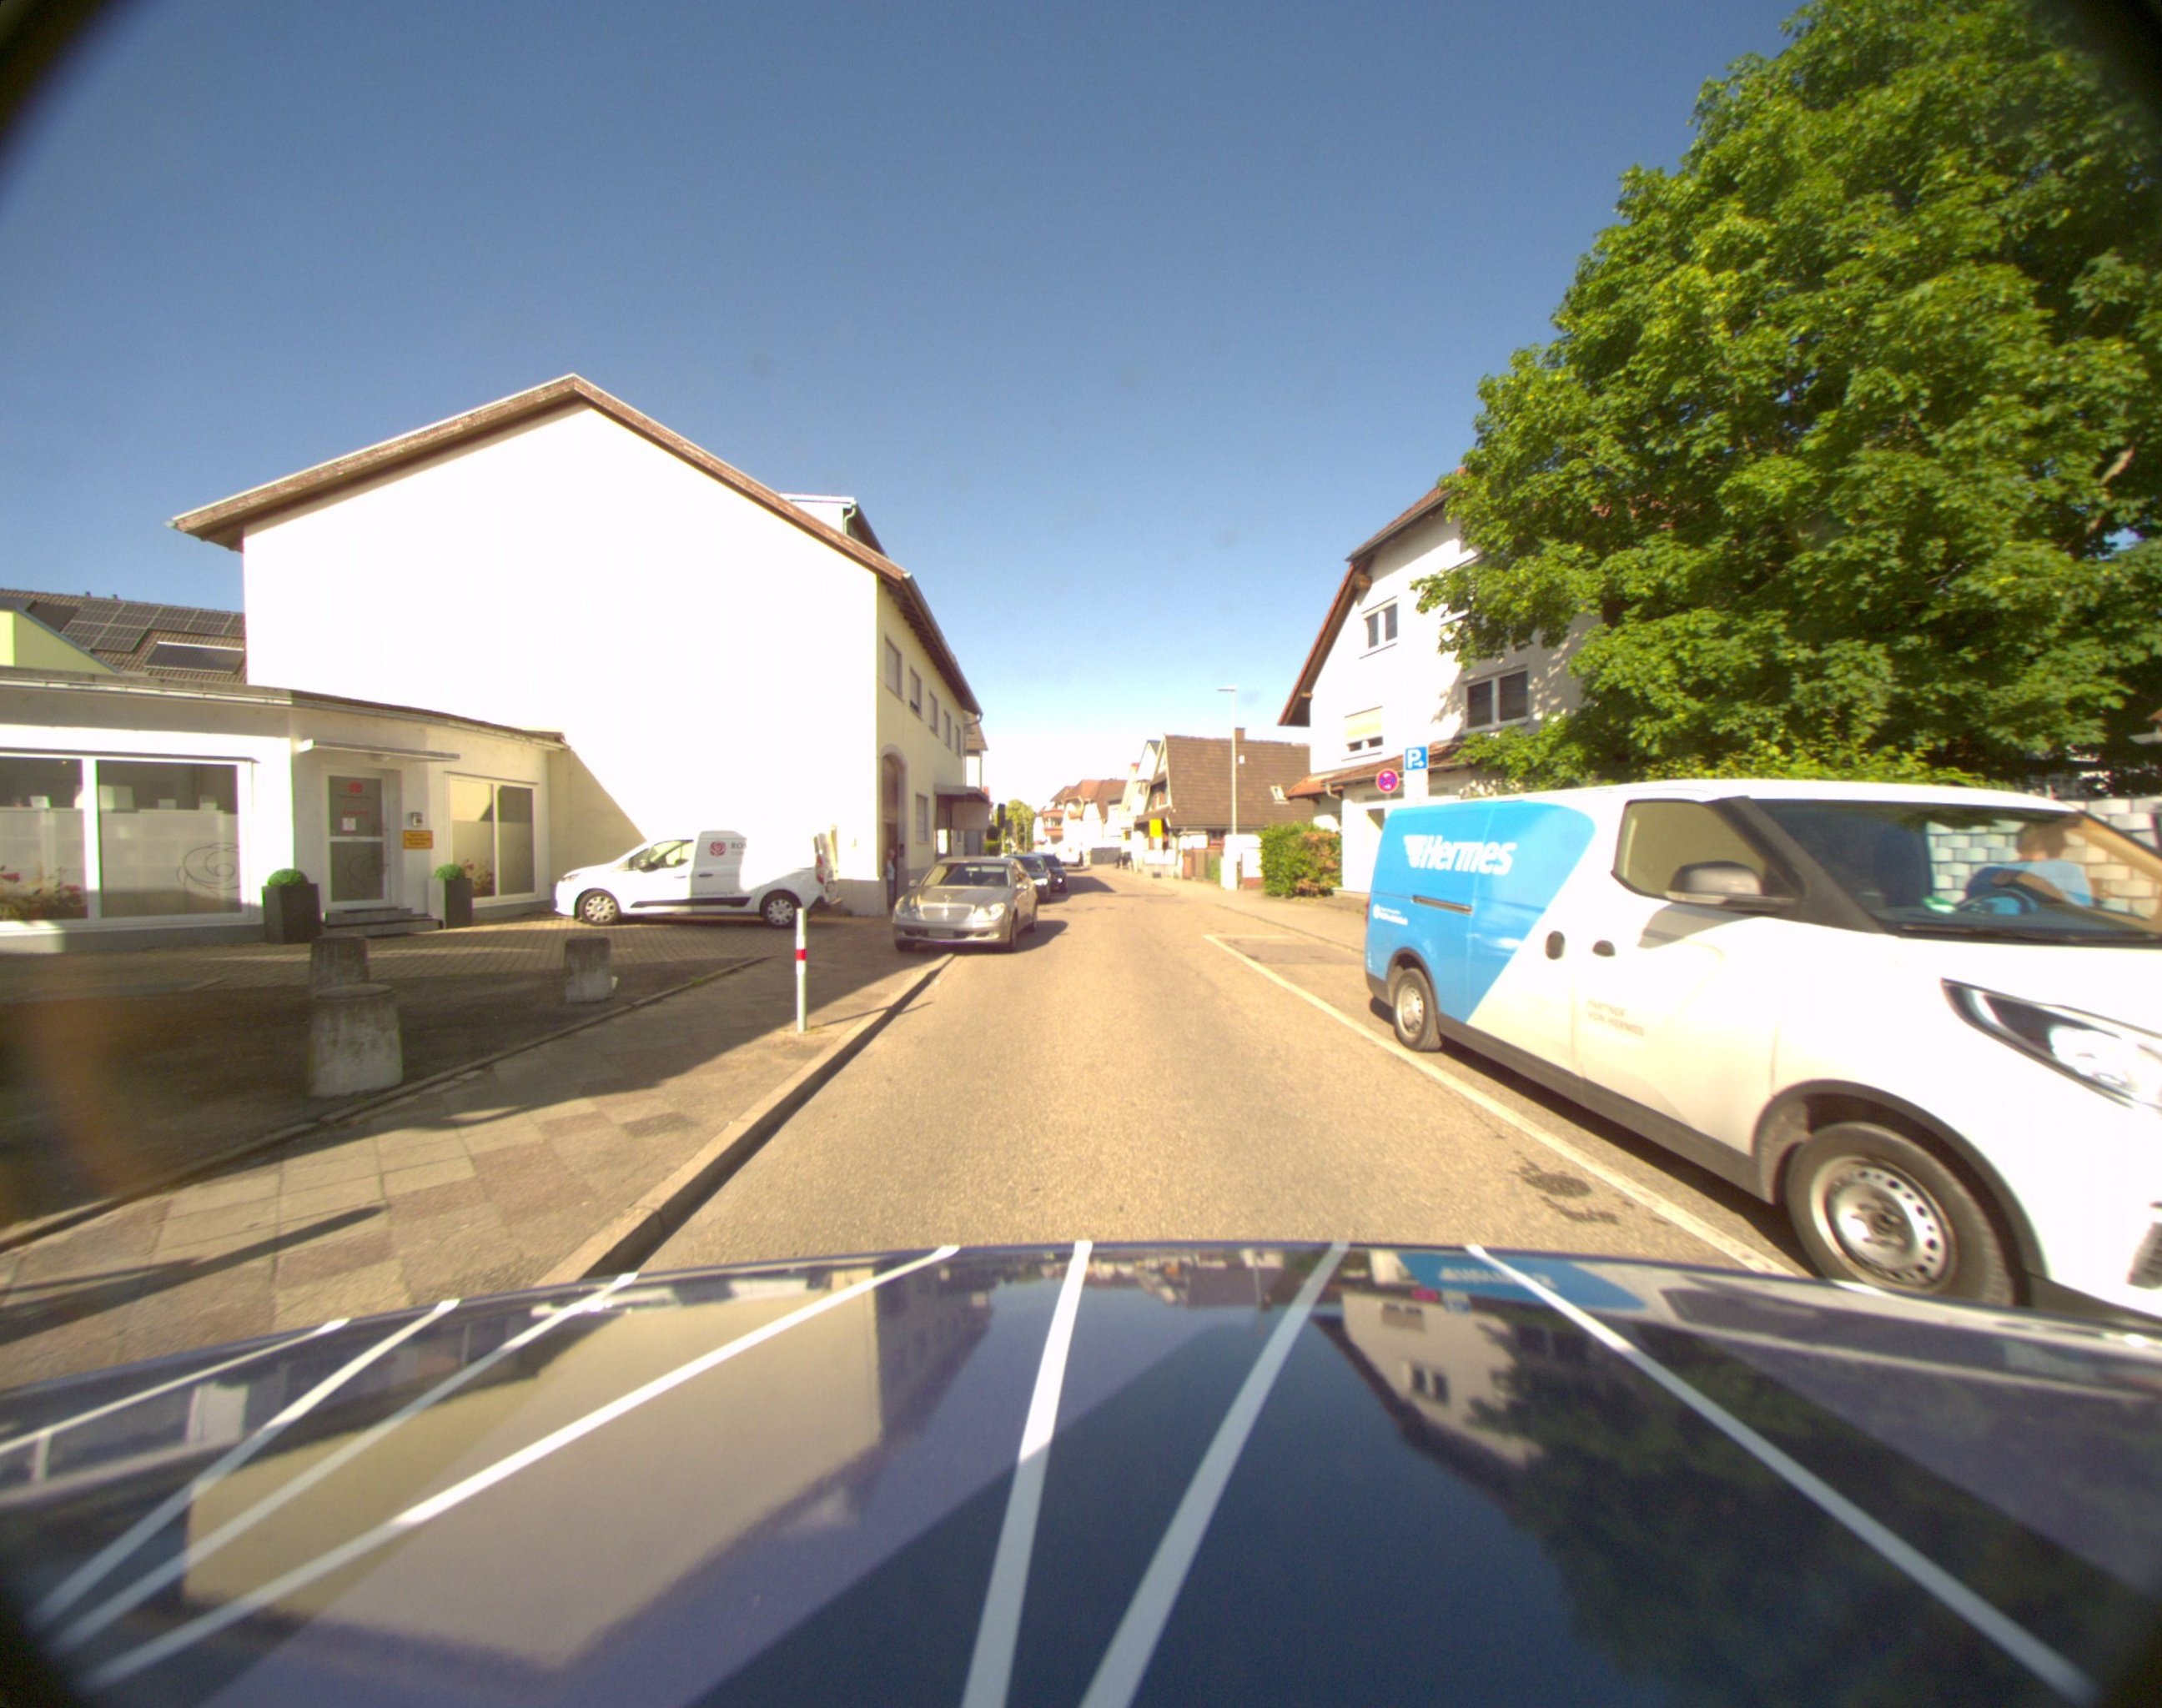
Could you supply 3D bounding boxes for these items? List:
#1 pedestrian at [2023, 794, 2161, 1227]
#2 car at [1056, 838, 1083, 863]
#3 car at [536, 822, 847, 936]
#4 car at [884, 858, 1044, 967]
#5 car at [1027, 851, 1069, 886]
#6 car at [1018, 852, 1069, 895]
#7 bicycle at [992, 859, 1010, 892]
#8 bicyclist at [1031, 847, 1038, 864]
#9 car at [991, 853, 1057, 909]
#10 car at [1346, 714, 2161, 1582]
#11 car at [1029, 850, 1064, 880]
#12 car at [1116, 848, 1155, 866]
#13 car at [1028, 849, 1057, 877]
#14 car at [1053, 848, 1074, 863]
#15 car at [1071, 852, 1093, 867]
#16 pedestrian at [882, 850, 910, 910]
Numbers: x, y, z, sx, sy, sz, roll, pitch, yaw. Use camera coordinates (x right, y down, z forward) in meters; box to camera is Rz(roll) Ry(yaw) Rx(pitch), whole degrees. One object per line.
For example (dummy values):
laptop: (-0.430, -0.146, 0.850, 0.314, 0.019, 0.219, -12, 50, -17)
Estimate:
pedestrian: (4.757, 0.617, 3.174, 0.883, 1.739, 0.618, -2, 1, -1)
car: (-1.172, -0.398, 76.985, 2.259, 2.456, 5.512, 0, 1, -6)
car: (-7.026, 0.453, 14.211, 4.778, 1.875, 1.907, 2, 0, -9)
car: (-1.770, 0.833, 13.054, 1.815, 1.467, 4.660, 0, 1, 3)
car: (-1.528, 0.618, 35.973, 1.813, 1.467, 4.443, -2, 1, -2)
car: (-1.441, 0.697, 29.971, 1.813, 1.467, 4.842, -2, 1, -2)
bicycle: (-2.897, 0.774, 27.643, 0.509, 1.151, 1.507, 1, 1, -1)
bicyclist: (-4.491, 0.126, 73.781, 0.643, 1.655, 0.604, 0, 1, -5)
car: (-1.696, 0.772, 24.024, 1.813, 1.467, 4.842, -2, 1, -2)
car: (3.292, 0.620, 3.997, 1.907, 1.906, 5.068, 1, 1, -1)
car: (-1.835, 0.540, 41.165, 1.730, 1.467, 3.873, -2, 1, -2)
car: (4.528, 0.226, 64.054, 1.695, 1.437, 4.169, -2, 1, -20)
car: (-2.331, 0.517, 45.830, 1.614, 1.512, 3.970, -2, 1, -3)
car: (-2.015, 0.136, 86.390, 1.728, 1.609, 4.108, 0, 1, -10)
car: (0.076, 0.628, 89.887, 1.648, 1.578, 4.107, -1, 1, -13)
pedestrian: (-4.892, 0.683, 20.119, 0.566, 1.543, 0.770, -1, 1, -6)
